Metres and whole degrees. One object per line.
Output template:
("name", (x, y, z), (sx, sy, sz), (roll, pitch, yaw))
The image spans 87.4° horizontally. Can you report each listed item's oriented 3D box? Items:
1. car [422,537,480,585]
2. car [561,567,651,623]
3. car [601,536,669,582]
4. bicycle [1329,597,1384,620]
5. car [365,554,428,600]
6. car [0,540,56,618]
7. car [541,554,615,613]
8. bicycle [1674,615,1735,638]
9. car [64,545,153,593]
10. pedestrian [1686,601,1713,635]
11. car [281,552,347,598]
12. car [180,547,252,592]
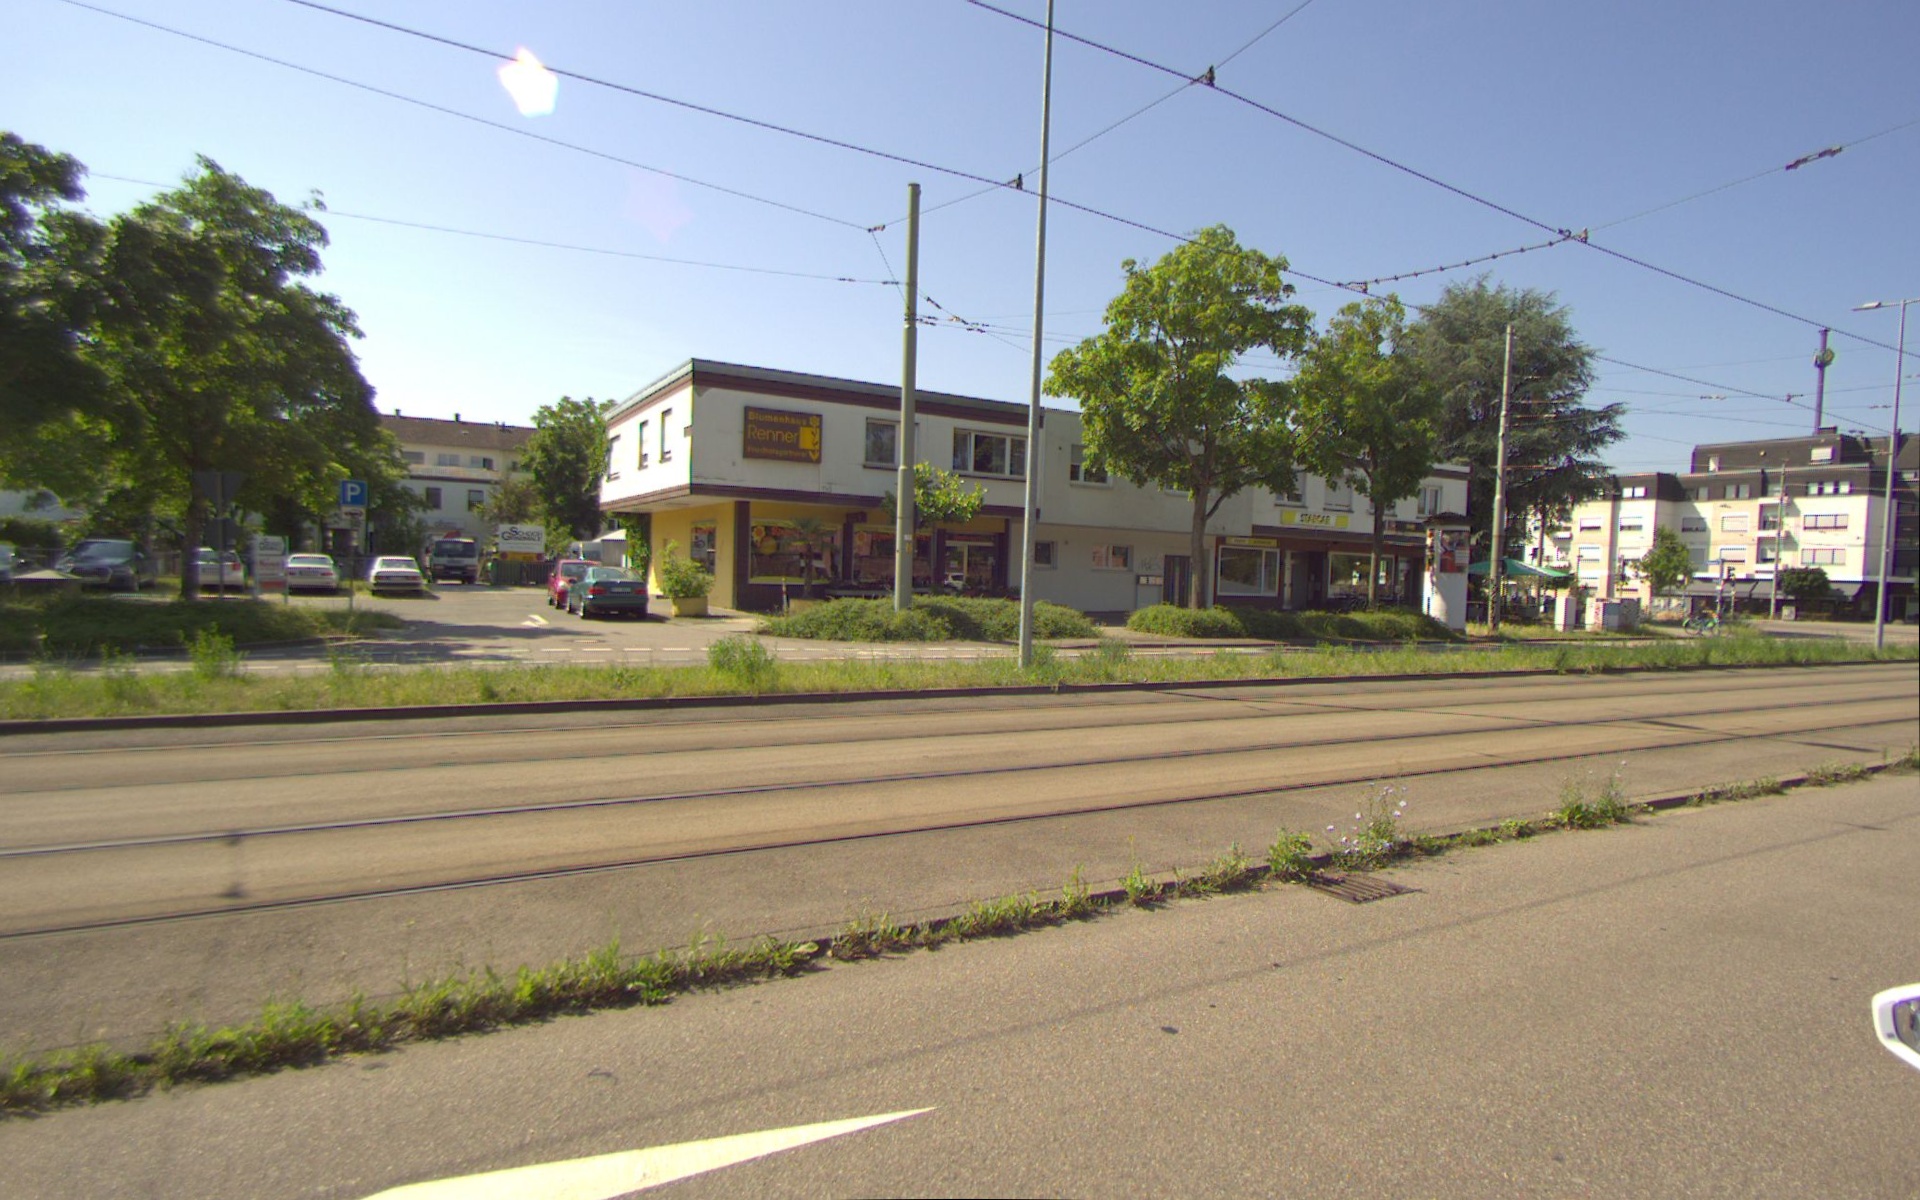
("car", (-25.237, -1.894, 49.719), (2.077, 2.203, 4.901), (1, 1, -32))
("car", (-9.834, -0.170, 27.708), (1.677, 1.363, 4.128), (1, 2, -29))
("car", (-17.271, -2.177, 53.380), (3.373, 2.307, 1.476), (1, 2, -20))
("bicycle", (16.412, 0.345, 41.565), (2.362, 0.900, 0.779), (1, 2, -30))
("car", (-20.656, -0.856, 36.765), (1.889, 1.554, 3.966), (1, 2, -31))
("car", (-21.208, -0.500, 21.810), (1.645, 1.584, 3.965), (1, 1, -32))
("car", (-12.437, -0.580, 32.554), (1.677, 1.759, 4.128), (1, 2, -29))
("bicycle", (33.721, 1.214, 45.513), (2.134, 0.934, 0.553), (2, 1, 18))
("car", (-27.494, -1.005, 32.544), (1.658, 1.444, 3.949), (1, 2, -32))
("pedestrian", (33.901, 0.824, 46.038), (0.800, 1.507, 0.566), (2, 1, 18))
("car", (-23.088, -0.911, 35.940), (1.890, 1.554, 3.964), (1, 2, -32))
("car", (-25.748, -1.058, 34.870), (1.657, 1.444, 3.951), (1, 2, -31))
